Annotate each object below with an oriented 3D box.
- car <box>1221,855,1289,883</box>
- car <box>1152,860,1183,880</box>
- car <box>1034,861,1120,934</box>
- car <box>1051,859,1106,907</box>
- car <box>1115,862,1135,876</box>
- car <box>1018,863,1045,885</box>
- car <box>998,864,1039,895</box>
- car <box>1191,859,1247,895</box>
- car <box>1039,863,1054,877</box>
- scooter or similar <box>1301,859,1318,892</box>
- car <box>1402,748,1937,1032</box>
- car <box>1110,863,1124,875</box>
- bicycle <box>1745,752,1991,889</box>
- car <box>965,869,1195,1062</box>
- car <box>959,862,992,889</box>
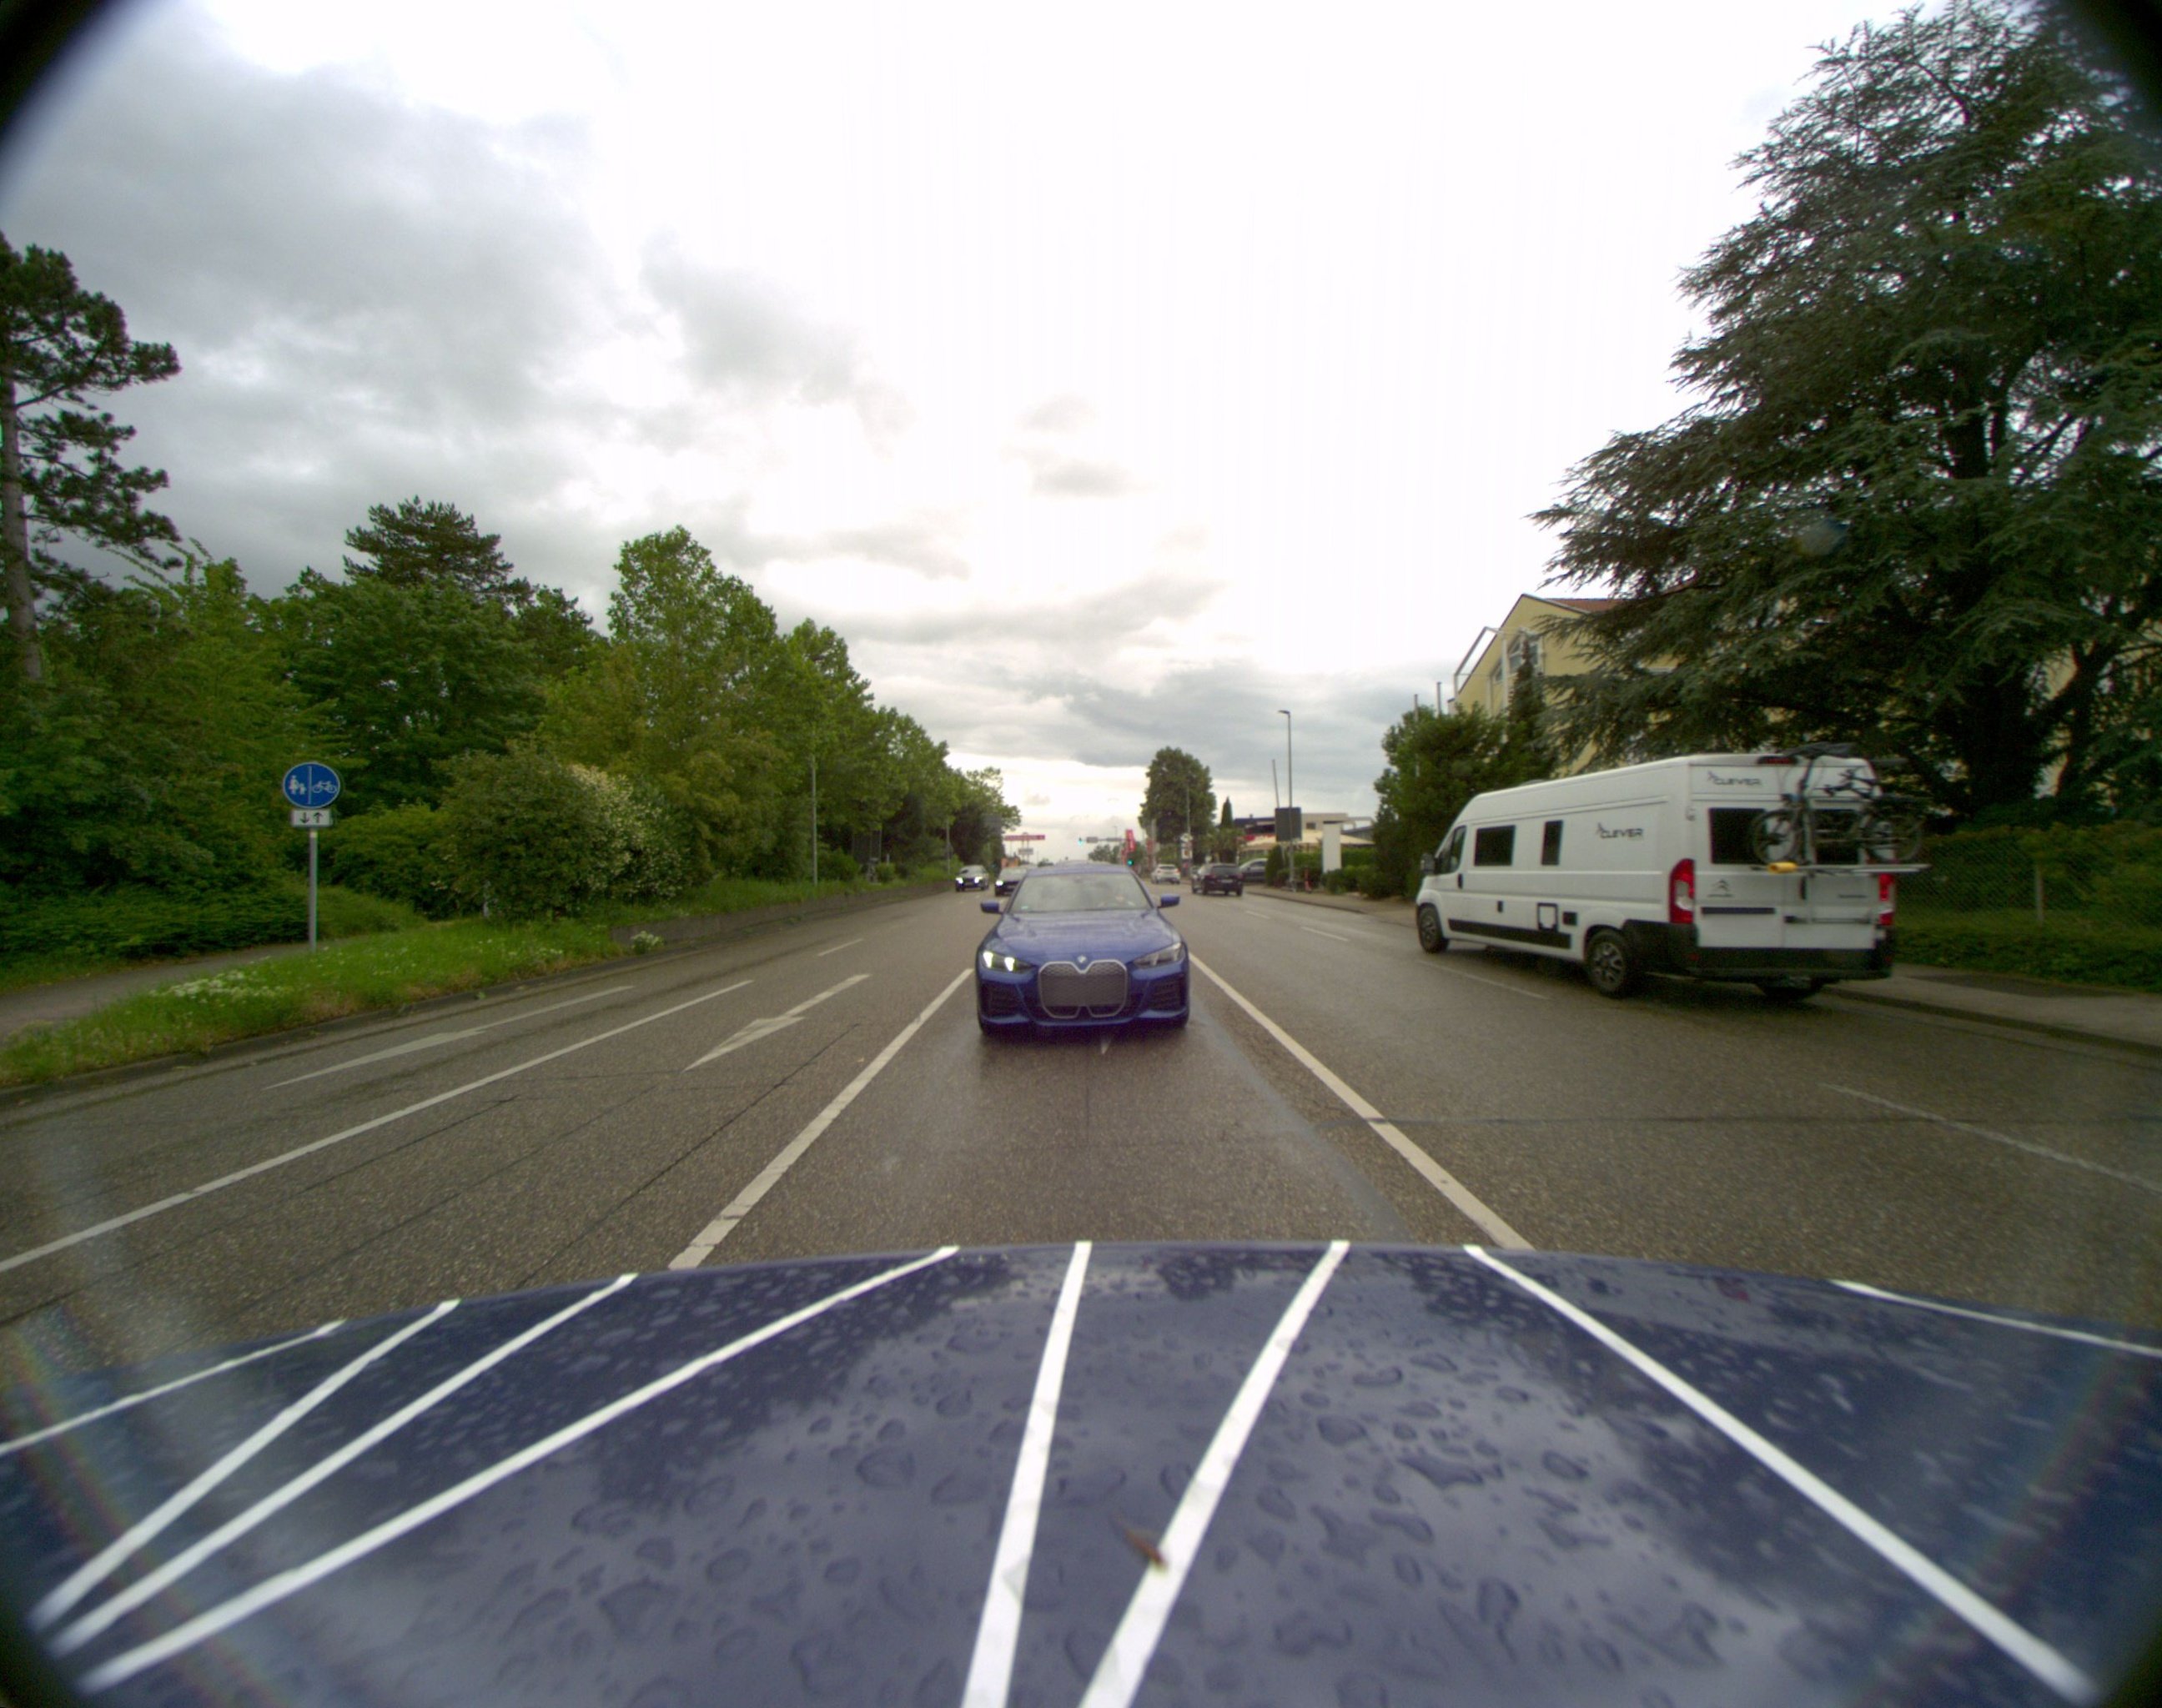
[{"bbox_3d":[10.726,0.898,47.151,3.930,1.642,1.719,-1,0,6],"label":"car"},{"bbox_3d":[6.377,1.158,56.498,1.751,1.389,3.801,-1,0,-2],"label":"car"},{"bbox_3d":[-0.075,0.951,18.429,1.807,1.543,4.223,-1,0,0],"label":"car"},{"bbox_3d":[-0.087,0.976,27.442,1.807,1.543,4.000,-1,0,0],"label":"car"},{"bbox_3d":[5.243,1.780,90.797,1.973,1.446,4.307,-1,0,-3],"label":"car"},{"bbox_3d":[-4.108,1.670,63.379,1.979,1.613,3.841,-3,1,0],"label":"car"},{"bbox_3d":[-3.247,1.297,40.216,1.795,1.451,4.719,-1,0,-1],"label":"car"},{"bbox_3d":[6.389,1.009,35.566,1.780,1.493,4.471,-1,0,0],"label":"car"},{"bbox_3d":[-4.384,2.044,97.488,1.829,1.612,3.841,-1,0,0],"label":"car"},{"bbox_3d":[10.033,0.934,33.344,0.505,1.398,1.882,0,0,11],"label":"scooter or similar"},{"bbox_3d":[6.508,0.322,9.698,2.303,2.513,5.773,-1,0,-1],"label":"car"},{"bbox_3d":[5.025,2.029,105.926,1.704,1.590,3.548,0,1,-2],"label":"car"},{"bbox_3d":[6.737,-0.276,6.537,1.640,1.119,0.468,1,0,-1],"label":"bicycle"},{"bbox_3d":[-0.014,0.931,8.181,1.803,1.399,4.272,-1,0,0],"label":"car"},{"bbox_3d":[-6.907,1.412,50.064,1.705,1.612,3.842,-3,-1,-3],"label":"car"}]
